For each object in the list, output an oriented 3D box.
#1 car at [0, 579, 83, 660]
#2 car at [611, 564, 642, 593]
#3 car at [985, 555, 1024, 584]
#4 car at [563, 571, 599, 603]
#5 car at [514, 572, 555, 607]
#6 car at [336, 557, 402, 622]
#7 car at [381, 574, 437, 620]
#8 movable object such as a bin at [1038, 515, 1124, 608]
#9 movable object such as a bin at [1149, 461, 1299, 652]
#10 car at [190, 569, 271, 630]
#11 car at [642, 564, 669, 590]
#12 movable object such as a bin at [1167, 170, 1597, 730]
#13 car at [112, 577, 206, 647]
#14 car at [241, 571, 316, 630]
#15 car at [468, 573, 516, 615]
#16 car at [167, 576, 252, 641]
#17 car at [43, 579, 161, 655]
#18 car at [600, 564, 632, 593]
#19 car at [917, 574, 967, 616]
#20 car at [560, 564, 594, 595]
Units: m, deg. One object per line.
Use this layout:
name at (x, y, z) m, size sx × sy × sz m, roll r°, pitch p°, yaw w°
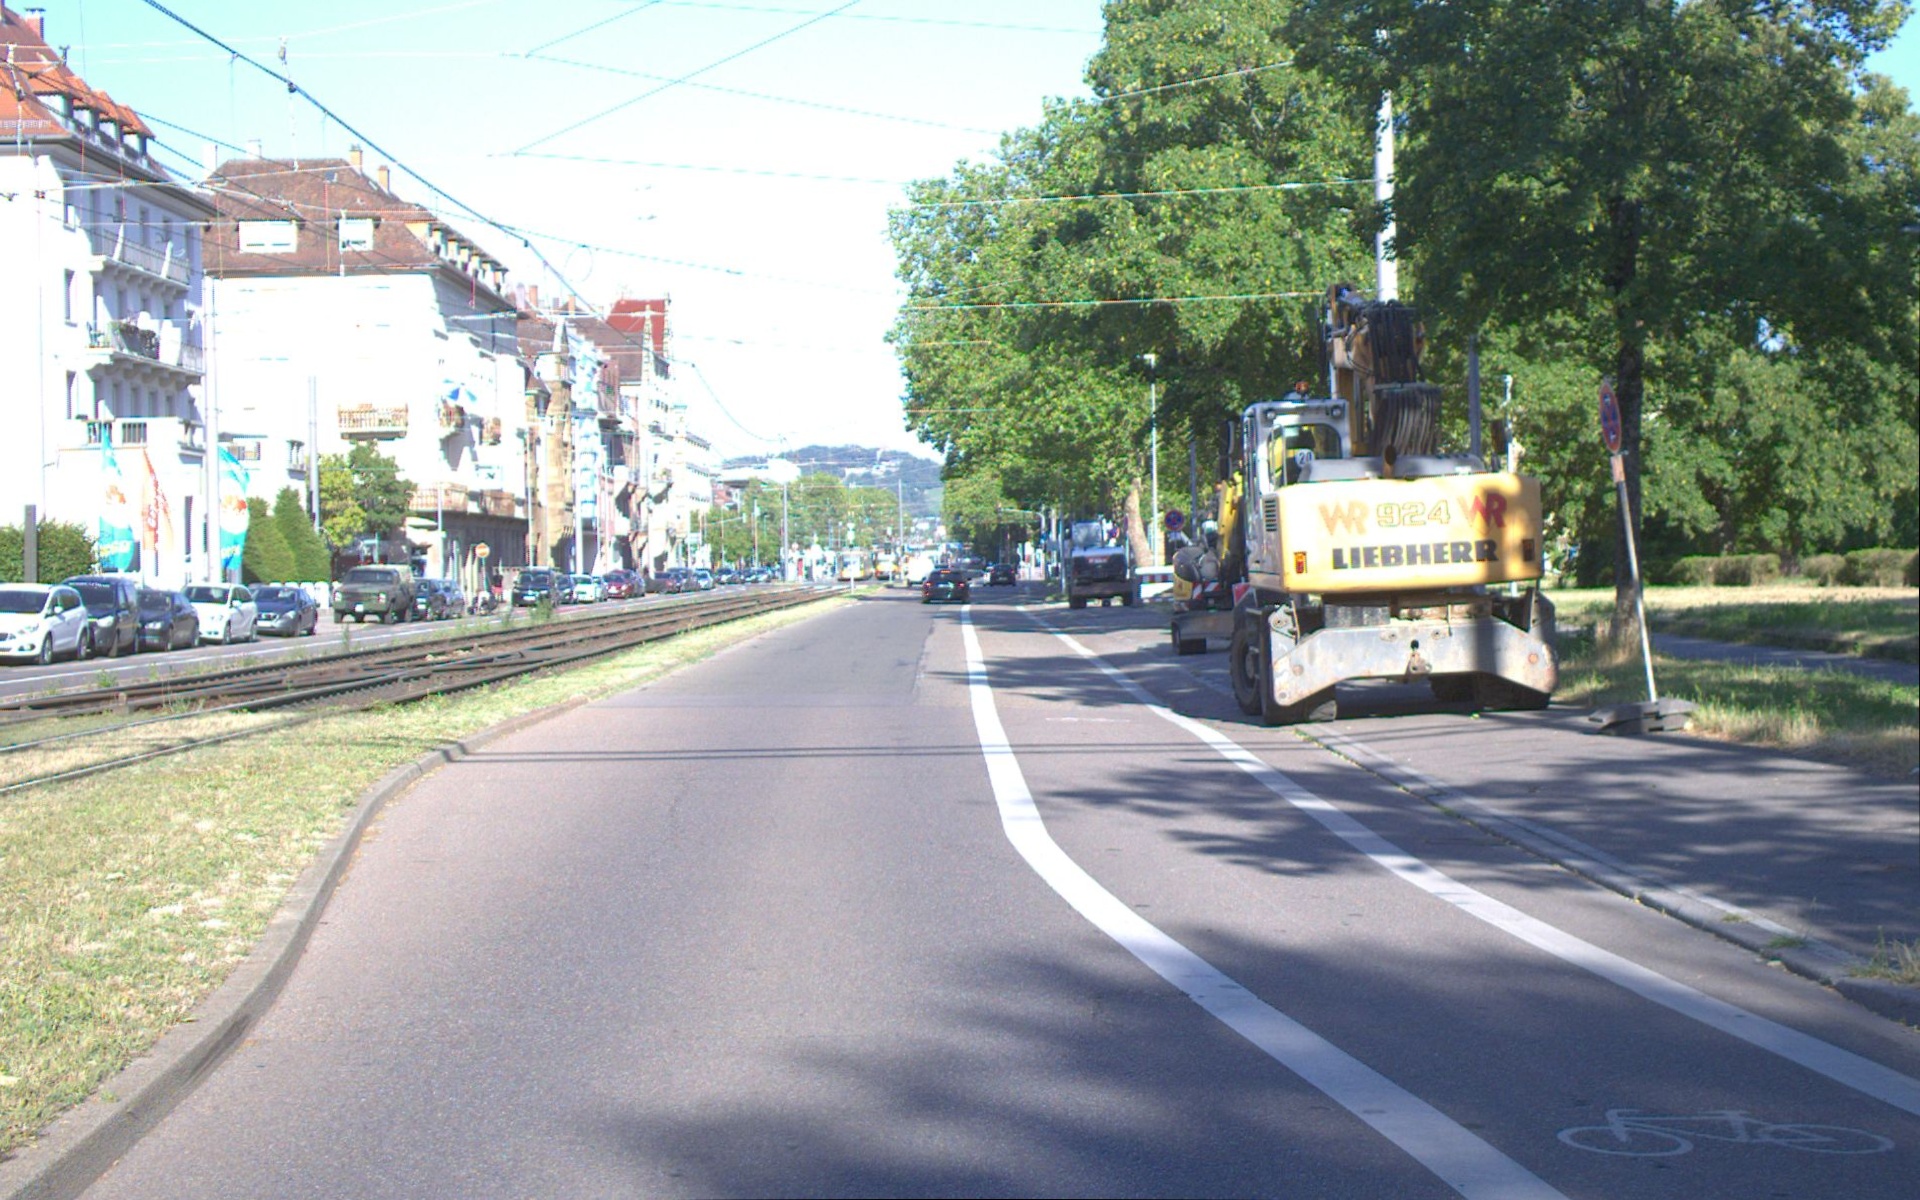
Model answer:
car at (-19.903, 0.392, 72.773) m, size 1.741 × 1.555 × 3.768 m, roll 1°, pitch 2°, yaw -1°
car at (-19.839, -1.289, 204.386) m, size 1.527 × 1.605 × 3.224 m, roll 1°, pitch 2°, yaw -1°
car at (2.901, -1.984, 223.900) m, size 1.993 × 1.853 × 4.001 m, roll 1°, pitch 1°, yaw -6°
car at (-19.656, -0.679, 178.285) m, size 1.527 × 1.555 × 3.224 m, roll 1°, pitch 2°, yaw -1°
car at (-19.971, -0.504, 161.355) m, size 1.527 × 1.555 × 3.224 m, roll 1°, pitch 2°, yaw -1°
car at (-20.234, -0.377, 117.797) m, size 1.658 × 2.132 × 3.526 m, roll 1°, pitch 2°, yaw -1°
car at (-19.816, -0.130, 123.672) m, size 1.527 × 1.555 × 3.224 m, roll 1°, pitch 2°, yaw -1°
movable object such as a bin at (3.997, -1.278, 114.110) m, size 2.467 × 2.896 × 4.000 m, roll -4°, pitch 1°, yaw -1°
movable object such as a bin at (4.457, -0.737, 58.733) m, size 1.968 × 3.003 × 4.797 m, roll -4°, pitch 1°, yaw -1°
car at (-19.843, -0.030, 93.559) m, size 1.527 × 1.555 × 3.224 m, roll 1°, pitch 2°, yaw -1°
car at (-20.408, -1.551, 230.592) m, size 1.527 × 1.605 × 3.224 m, roll 1°, pitch 2°, yaw -1°
movable object such as a bin at (4.225, -1.449, 36.676) m, size 3.087 × 5.071 × 8.892 m, roll -4°, pitch 1°, yaw -1°
car at (-19.334, 0.269, 83.073) m, size 1.527 × 1.555 × 3.224 m, roll 1°, pitch 2°, yaw -1°
car at (-19.520, 0.004, 98.509) m, size 1.527 × 1.555 × 3.224 m, roll 1°, pitch 2°, yaw -1°
car at (-18.860, -0.256, 138.560) m, size 1.527 × 1.555 × 3.224 m, roll 1°, pitch 2°, yaw -1°
car at (-19.536, 0.210, 89.610) m, size 1.527 × 1.555 × 3.224 m, roll 1°, pitch 2°, yaw -1°
car at (-19.316, 0.356, 77.530) m, size 1.741 × 1.555 × 3.768 m, roll 1°, pitch 2°, yaw -1°
car at (-19.943, -1.244, 199.552) m, size 1.527 × 1.605 × 3.224 m, roll 1°, pitch 2°, yaw -1°
car at (-0.736, -0.221, 140.672) m, size 1.993 × 1.678 × 4.000 m, roll 1°, pitch 1°, yaw 0°
car at (-20.847, -1.140, 187.146) m, size 1.527 × 1.605 × 3.224 m, roll 1°, pitch 2°, yaw -1°
